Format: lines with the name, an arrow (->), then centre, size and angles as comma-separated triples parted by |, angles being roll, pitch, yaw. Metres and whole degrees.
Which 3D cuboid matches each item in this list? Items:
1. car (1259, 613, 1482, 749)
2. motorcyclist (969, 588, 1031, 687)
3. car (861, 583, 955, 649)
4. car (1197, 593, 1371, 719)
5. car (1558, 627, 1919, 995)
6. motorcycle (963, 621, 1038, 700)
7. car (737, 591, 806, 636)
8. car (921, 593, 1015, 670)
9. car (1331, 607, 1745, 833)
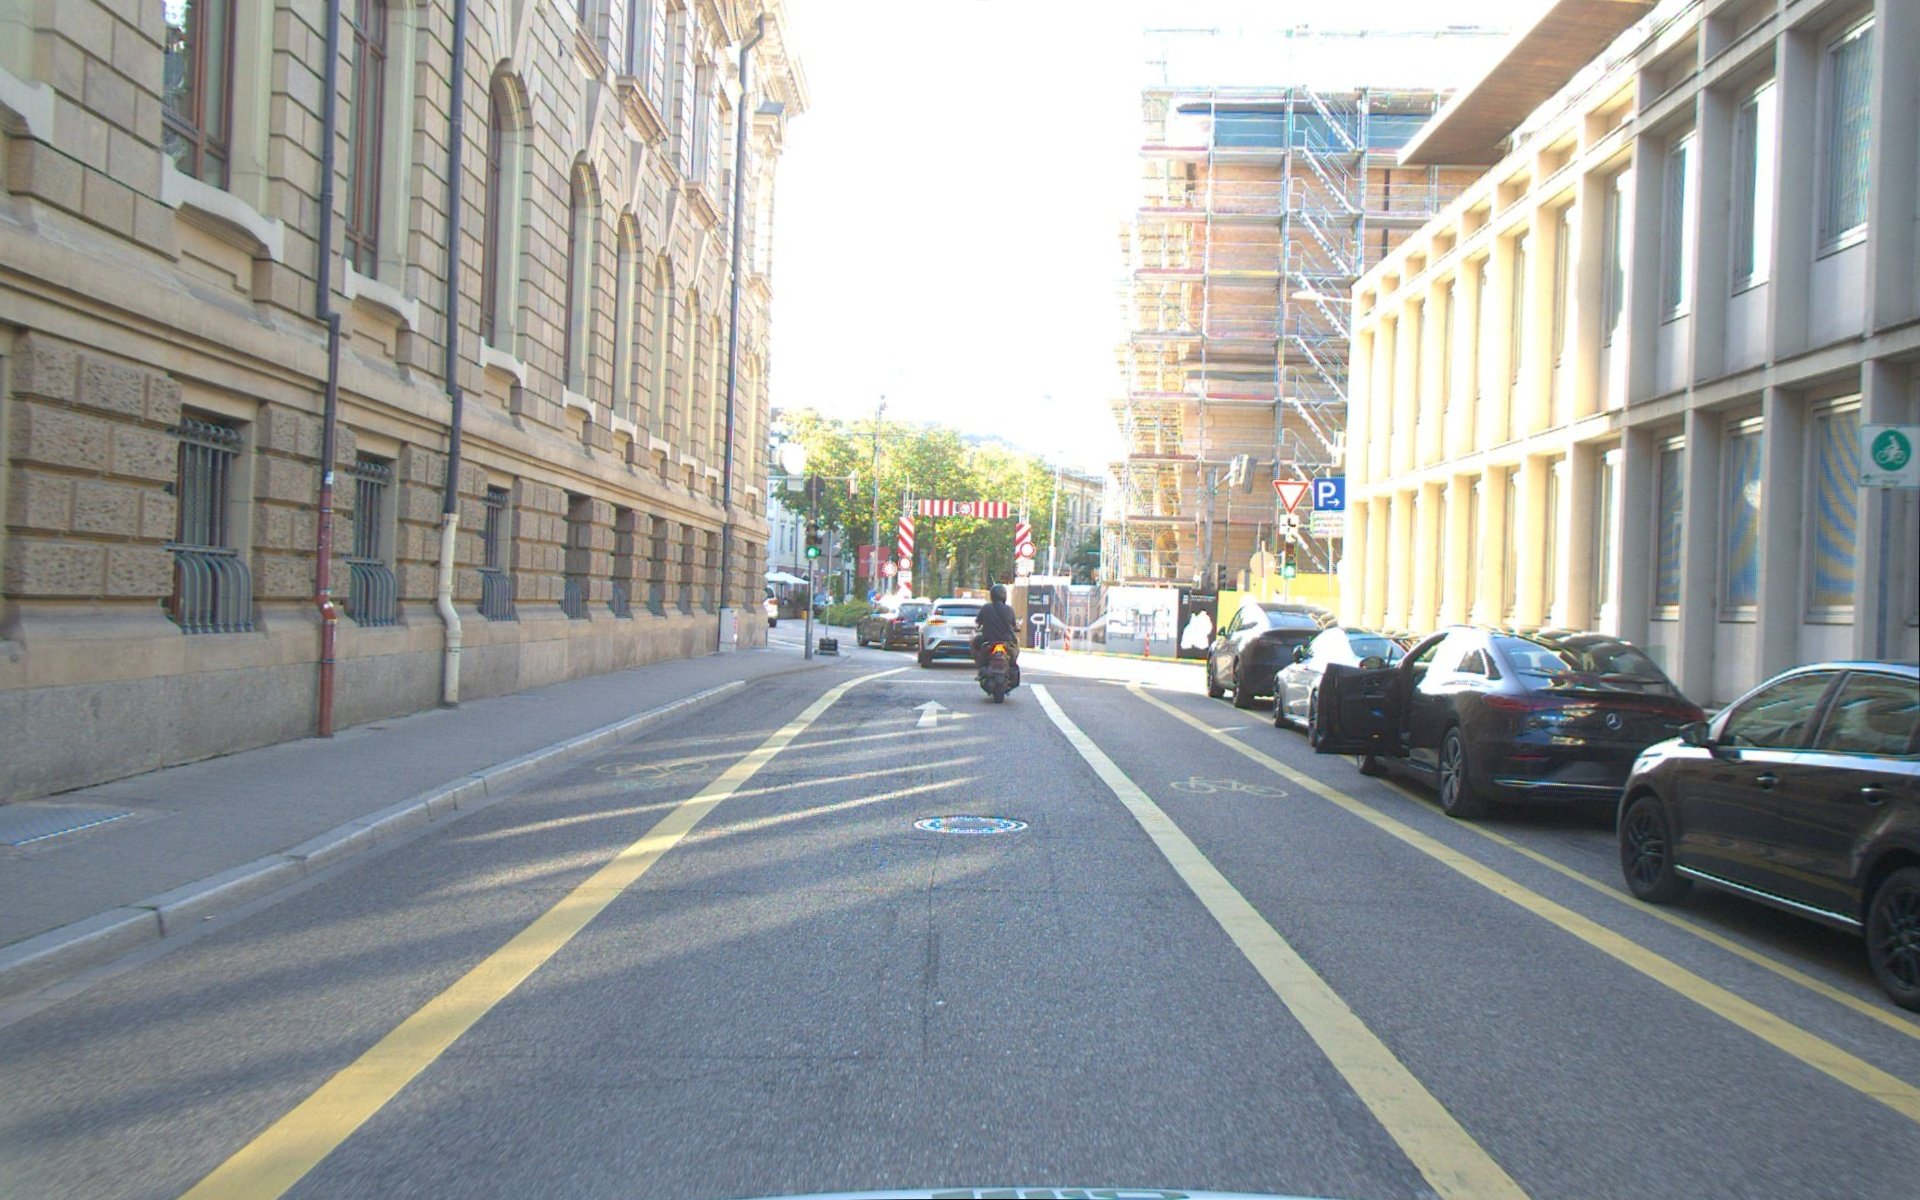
car -> 5.019, 0.949, 20.820 | 1.787, 1.423, 4.480 | 3, -1, 2
motorcyclist -> 0.591, 0.555, 24.702 | 0.850, 1.452, 0.455 | 1, -1, -7
car -> -1.592, 0.491, 49.352 | 1.801, 1.870, 3.981 | 1, -1, -17
car -> 5.158, 0.824, 26.979 | 1.787, 1.728, 4.666 | 3, 1, -1
car -> 4.784, 0.941, 8.373 | 1.745, 1.505, 4.286 | 3, -1, -3
motorcycle -> 0.579, 0.882, 24.693 | 0.856, 1.129, 1.837 | 1, -1, -7
car -> -7.769, 0.525, 67.895 | 1.963, 1.693, 4.335 | -1, 2, -19
car -> 0.239, 0.681, 37.222 | 1.784, 1.568, 4.266 | 2, 0, 4
car -> 4.694, 0.883, 14.269 | 1.788, 1.527, 4.735 | 3, -1, -1
